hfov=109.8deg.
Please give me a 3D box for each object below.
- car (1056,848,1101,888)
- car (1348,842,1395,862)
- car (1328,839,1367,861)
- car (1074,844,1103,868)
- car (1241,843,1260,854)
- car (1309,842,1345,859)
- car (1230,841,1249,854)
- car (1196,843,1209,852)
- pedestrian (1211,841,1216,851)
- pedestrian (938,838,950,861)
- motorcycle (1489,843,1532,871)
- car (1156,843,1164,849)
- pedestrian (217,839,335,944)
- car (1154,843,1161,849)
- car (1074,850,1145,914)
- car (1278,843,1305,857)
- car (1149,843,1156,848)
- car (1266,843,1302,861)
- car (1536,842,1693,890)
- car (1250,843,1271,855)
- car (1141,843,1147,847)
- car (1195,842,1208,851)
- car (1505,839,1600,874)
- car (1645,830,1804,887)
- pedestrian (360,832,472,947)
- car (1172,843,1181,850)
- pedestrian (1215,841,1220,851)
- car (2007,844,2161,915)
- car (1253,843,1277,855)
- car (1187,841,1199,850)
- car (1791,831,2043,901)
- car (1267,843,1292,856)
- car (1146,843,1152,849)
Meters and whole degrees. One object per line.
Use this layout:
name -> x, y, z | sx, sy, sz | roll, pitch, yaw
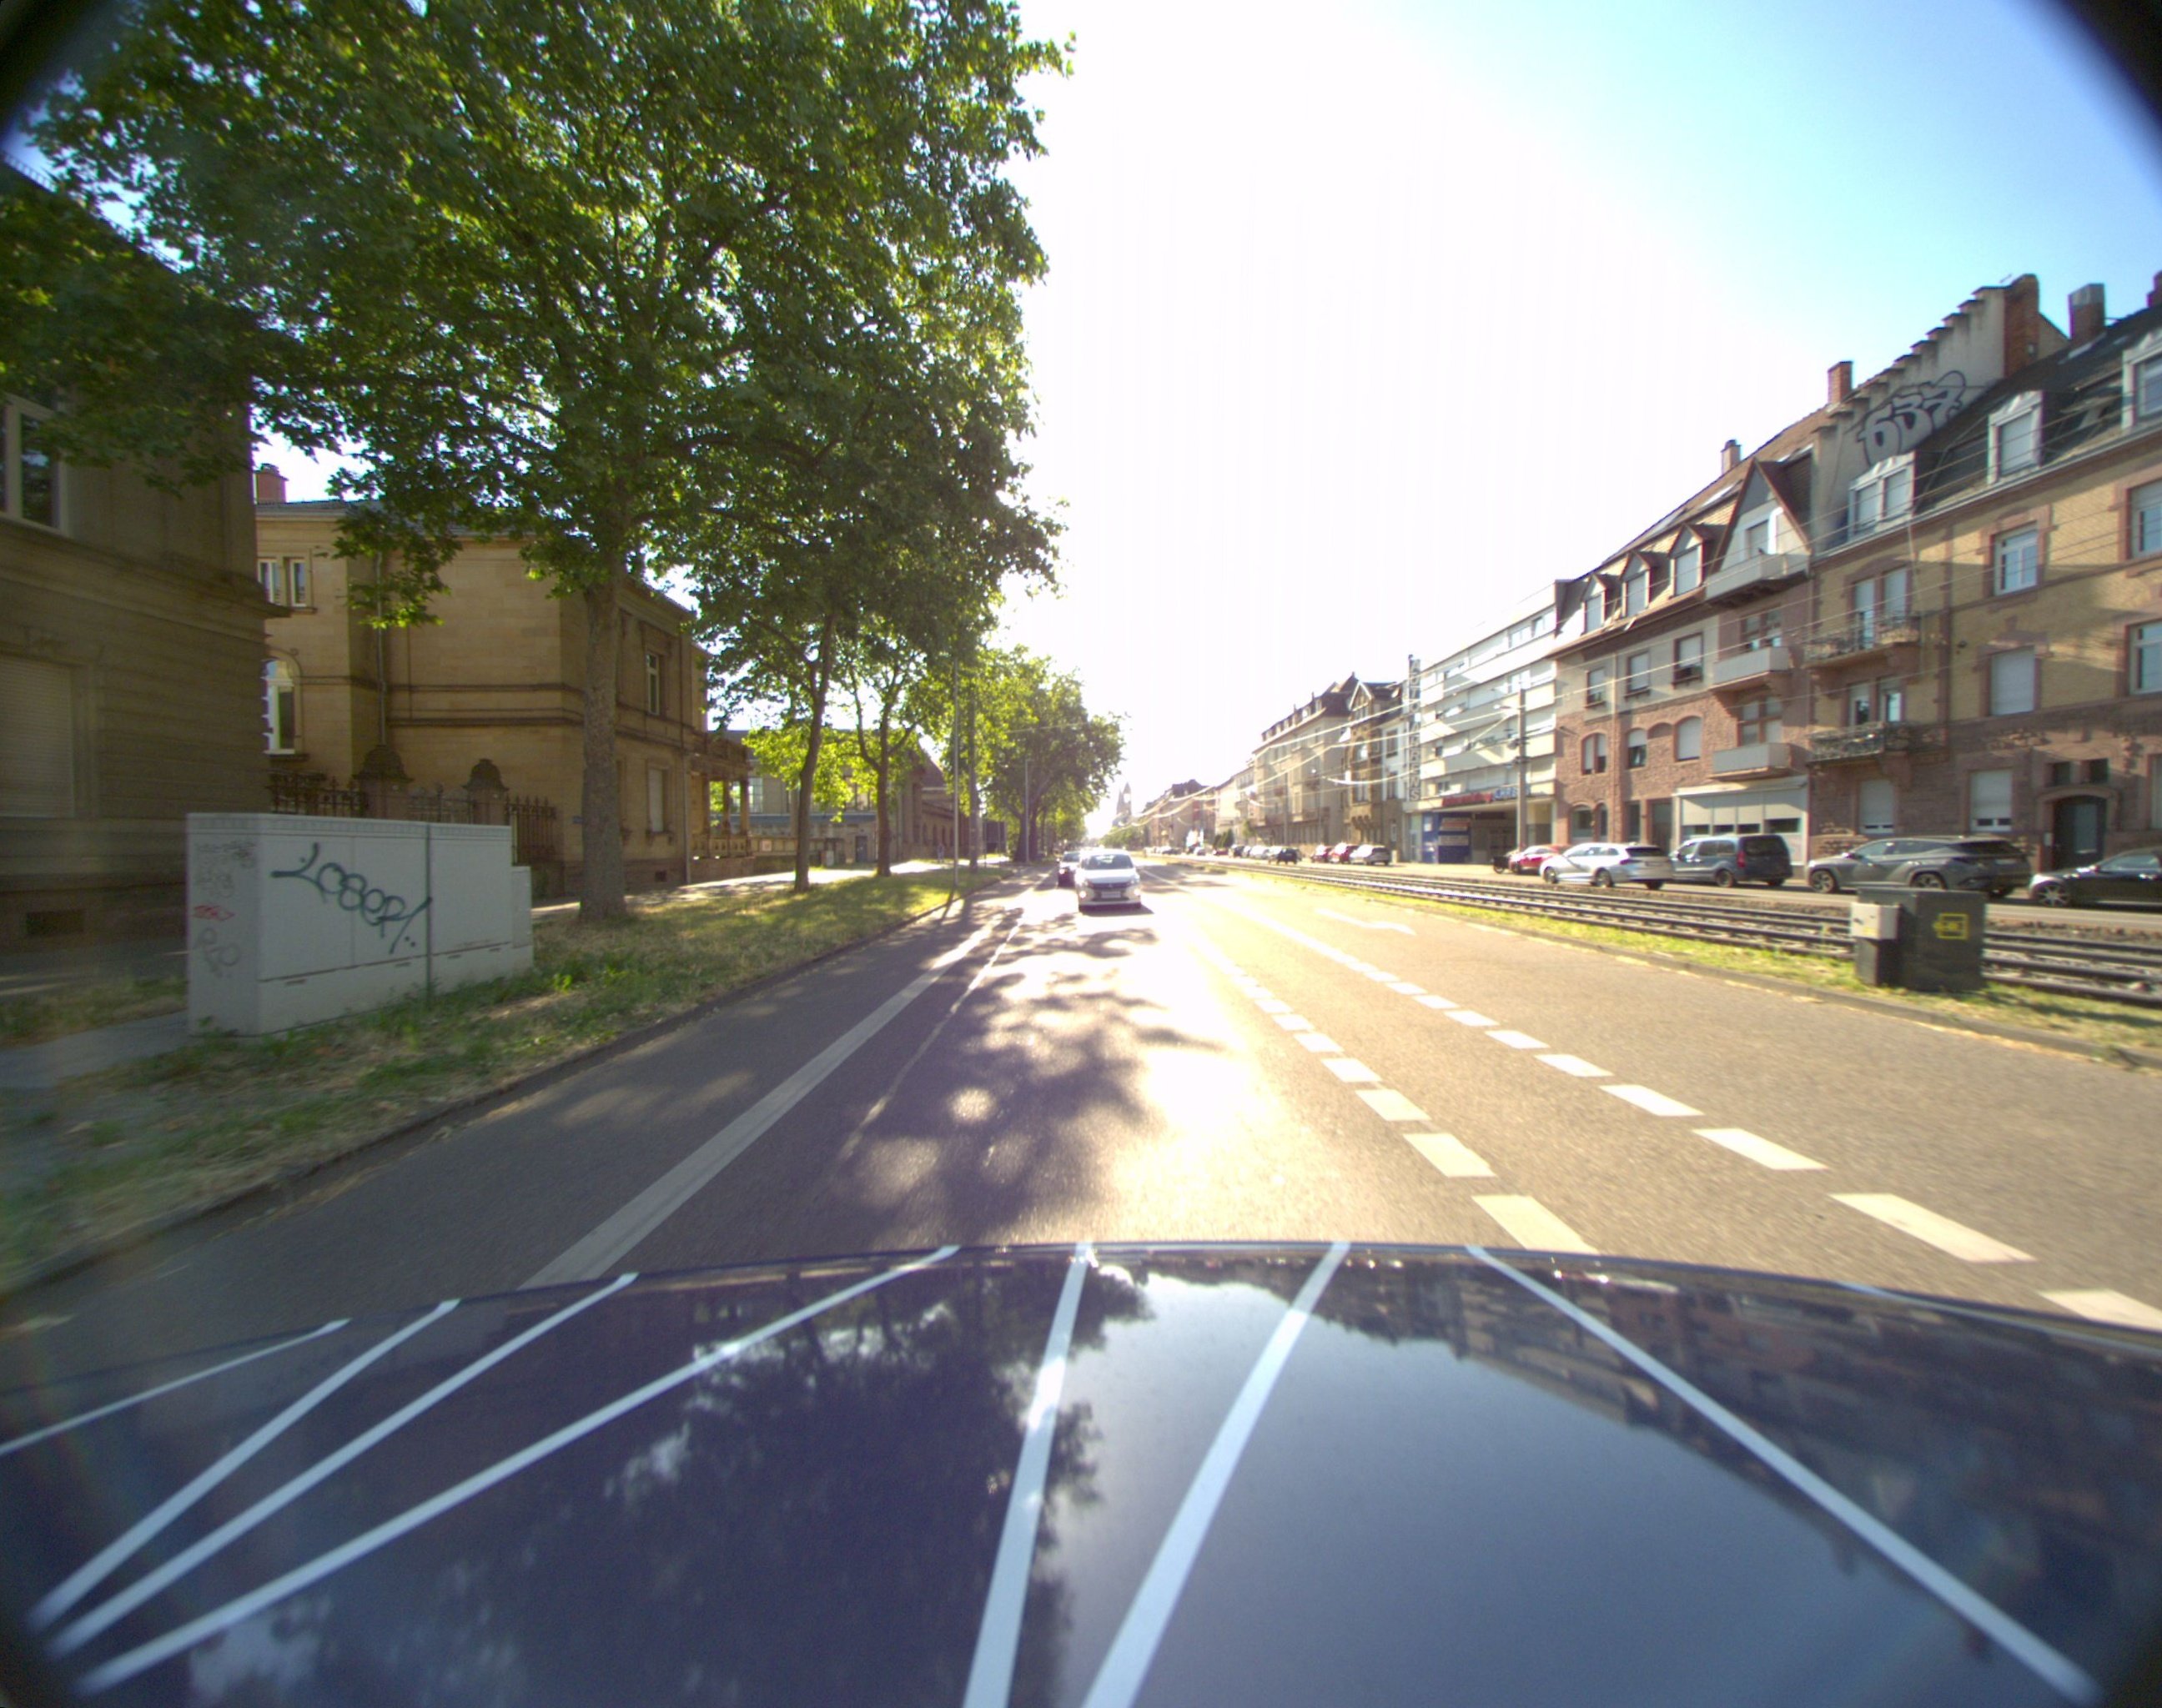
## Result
car -> -0.088, 0.537, 31.593 | 1.686, 1.462, 4.054 | -2, 1, 0
car -> 22.651, -0.179, 59.384 | 1.861, 1.490, 4.380 | -2, 1, -1
car -> 22.632, -0.362, 64.734 | 1.860, 1.677, 4.262 | -2, 1, 0
car -> 0.473, 0.114, 50.496 | 1.834, 1.543, 3.999 | 0, 1, 0
car -> 22.803, -0.745, 102.313 | 1.802, 1.471, 3.822 | -2, 1, 0
car -> 22.594, -0.339, 69.824 | 1.756, 1.487, 3.727 | -2, 1, -6
car -> 22.465, -0.938, 107.676 | 1.876, 1.727, 3.914 | -2, 1, 0
car -> 21.491, -1.190, 134.252 | 1.677, 1.623, 3.407 | -2, 1, 0
pedestrian -> 24.708, -1.477, 141.770 | 0.725, 1.780, 0.677 | 0, 1, -1
pedestrian -> -10.361, -0.343, 57.441 | 0.672, 1.653, 0.874 | 1, 1, 1
motorcycle -> 22.853, 0.140, 40.461 | 1.860, 1.413, 0.628 | -3, 0, 0
car -> 21.742, -2.261, 209.533 | 1.624, 1.581, 3.449 | -2, 1, 0
pedestrian -> -12.679, 0.557, 12.002 | 0.771, 1.597, 0.986 | 0, 1, 1
car -> 21.648, -2.342, 214.403 | 1.624, 1.581, 3.449 | -2, 1, 0
car -> 0.696, 0.666, 20.493 | 1.686, 1.462, 4.054 | -2, 1, 0
car -> 22.651, -0.441, 81.814 | 1.802, 1.471, 3.822 | -2, 1, 0
car -> 21.001, -2.453, 222.050 | 1.624, 1.581, 3.449 | -2, 1, 0
car -> 17.152, -0.201, 64.447 | 1.825, 1.449, 4.164 | 0, 1, -1
car -> 17.194, 0.323, 24.809 | 1.825, 1.449, 4.539 | 0, 1, -2
car -> 22.726, -0.675, 96.242 | 1.802, 1.471, 3.822 | -2, 1, 0
car -> 21.584, -3.058, 259.815 | 1.624, 1.581, 3.449 | -2, 1, 0
car -> 22.115, -1.311, 139.633 | 1.684, 1.562, 3.387 | -2, 1, 0
car -> 22.699, 0.108, 36.759 | 1.861, 1.490, 4.209 | -3, 1, -1
car -> 22.491, 0.124, 26.826 | 1.890, 1.748, 4.417 | -3, 1, 2
pedestrian -> -10.218, 0.514, 11.725 | 0.771, 1.700, 1.042 | 0, 1, 1
car -> 21.448, -1.695, 170.595 | 1.624, 1.581, 3.449 | -2, 1, 0
pedestrian -> 25.457, -1.489, 141.814 | 0.725, 1.780, 0.677 | 0, 1, -1
car -> 22.620, 0.501, 16.002 | 1.626, 1.347, 3.725 | -3, 1, -1
car -> 22.108, -0.623, 91.446 | 1.643, 1.438, 3.537 | -2, 1, -8
car -> 22.141, -1.632, 149.798 | 1.727, 1.776, 3.880 | -2, 1, 0
car -> 22.579, 0.276, 20.844 | 1.861, 1.613, 4.501 | -3, 1, -1
car -> 22.738, -0.563, 87.199 | 1.802, 1.422, 3.822 | -2, 1, -2
car -> 20.889, -2.459, 232.794 | 1.624, 1.581, 3.449 | -2, 1, 0
